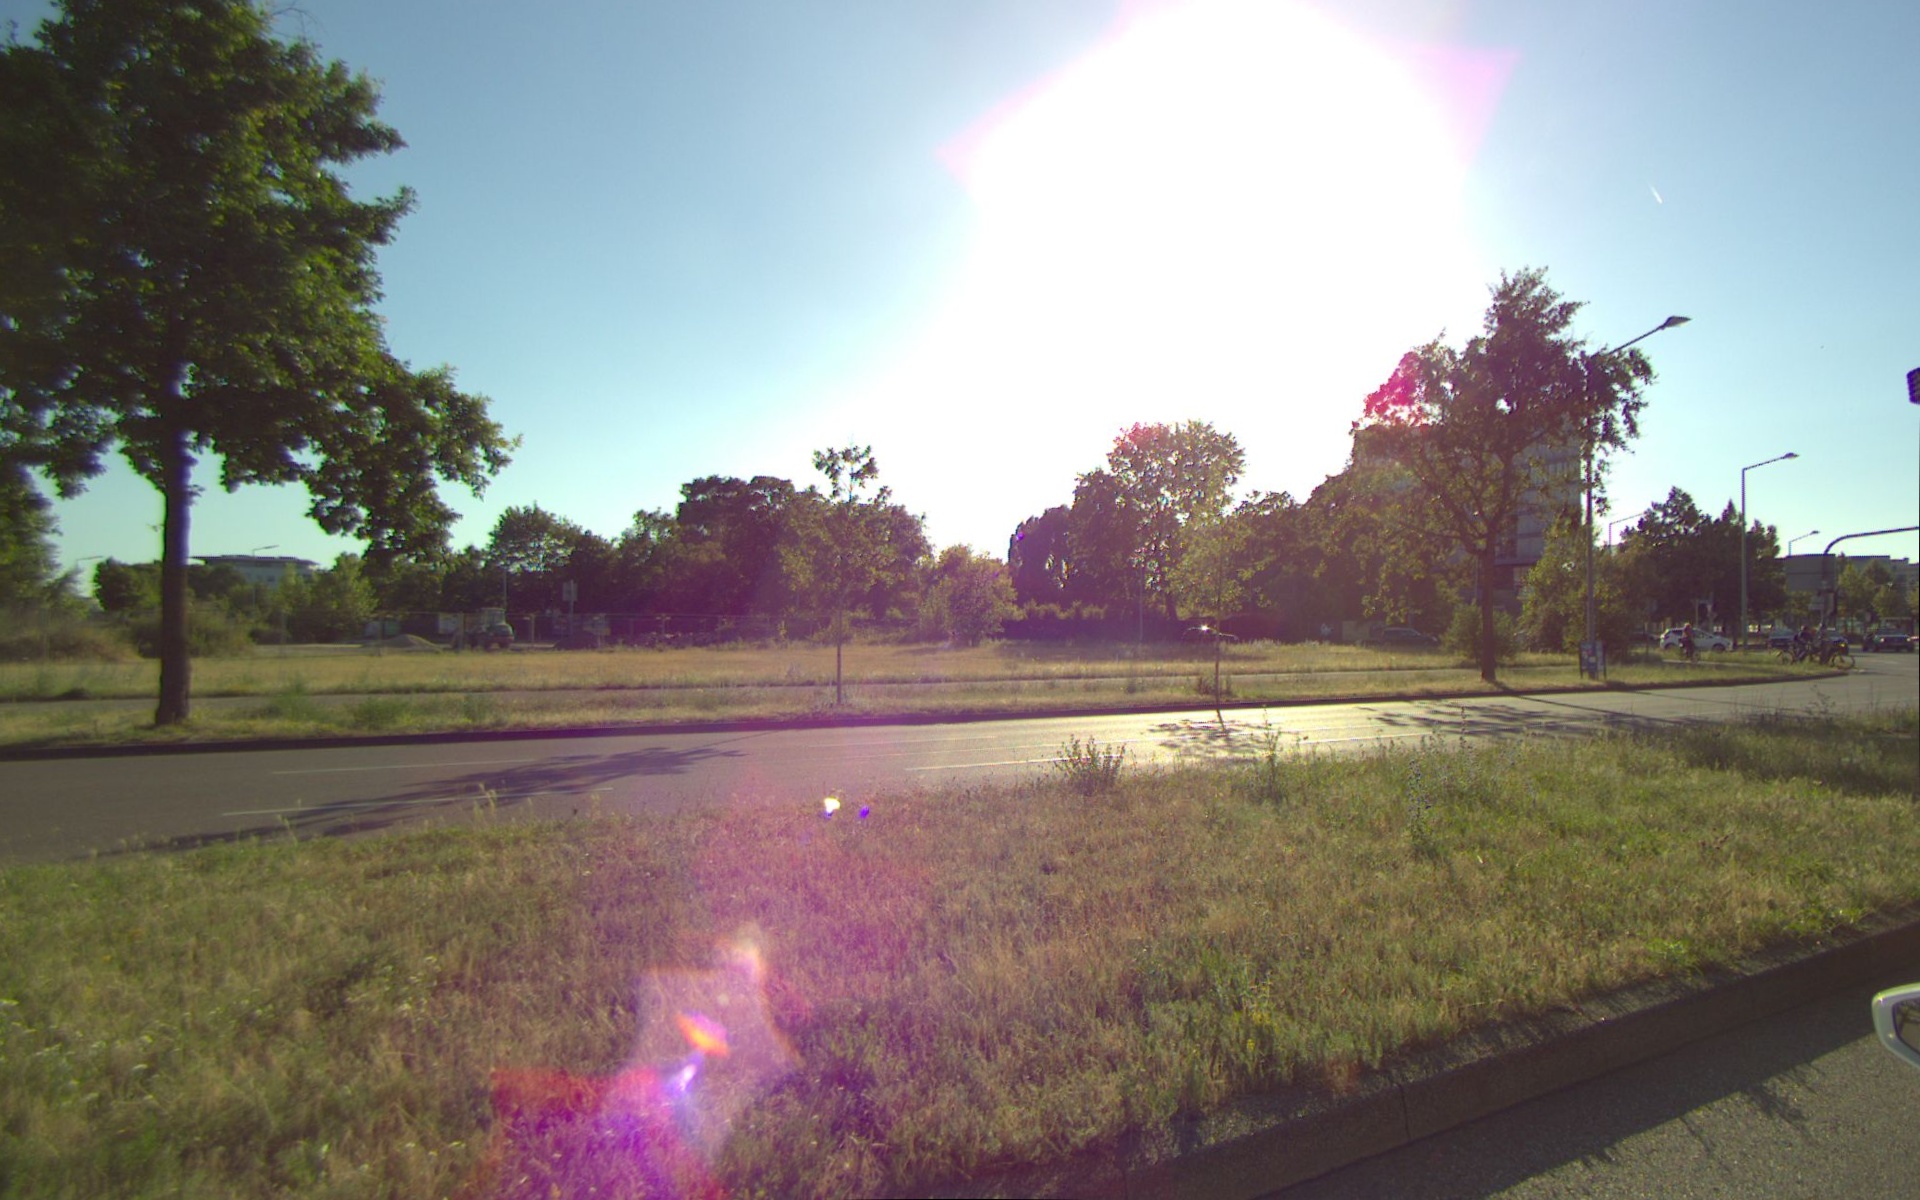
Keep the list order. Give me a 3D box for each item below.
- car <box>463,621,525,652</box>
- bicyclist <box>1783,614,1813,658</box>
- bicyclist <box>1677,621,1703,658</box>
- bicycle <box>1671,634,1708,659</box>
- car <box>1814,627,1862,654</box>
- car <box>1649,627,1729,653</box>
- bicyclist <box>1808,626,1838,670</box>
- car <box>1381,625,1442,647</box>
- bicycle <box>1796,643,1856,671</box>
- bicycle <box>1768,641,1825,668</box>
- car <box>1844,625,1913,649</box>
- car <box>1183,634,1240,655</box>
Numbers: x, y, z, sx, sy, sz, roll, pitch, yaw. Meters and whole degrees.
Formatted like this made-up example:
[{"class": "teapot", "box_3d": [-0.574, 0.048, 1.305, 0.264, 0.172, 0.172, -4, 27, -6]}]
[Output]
[{"class": "car", "box_3d": [-30.904, 2.416, 66.624, 3.815, 2.040, 1.995, -1, -2, 33]}, {"class": "bicyclist", "box_3d": [34.671, 1.488, 41.573, 0.488, 1.794, 0.813, 1, 0, -13]}, {"class": "bicyclist", "box_3d": [33.351, 1.793, 45.890, 0.696, 1.688, 0.831, -1, -1, 15]}, {"class": "bicycle", "box_3d": [33.379, 2.107, 45.979, 0.711, 1.133, 1.824, 0, -2, 14]}, {"class": "car", "box_3d": [49.810, 2.306, 57.054, 1.645, 1.460, 3.603, -2, -3, 35]}, {"class": "car", "box_3d": [45.321, 2.483, 62.553, 3.910, 1.528, 1.843, -1, -2, 35]}, {"class": "bicyclist", "box_3d": [35.983, 1.987, 41.878, 0.489, 1.813, 0.812, 1, 0, -20]}, {"class": "car", "box_3d": [31.050, 2.473, 69.176, 3.636, 1.528, 1.875, -1, -1, 20]}, {"class": "bicycle", "box_3d": [36.007, 2.360, 41.790, 0.497, 1.033, 1.905, 1, 0, -20]}, {"class": "bicycle", "box_3d": [34.645, 2.243, 41.643, 0.495, 1.033, 1.910, 1, 0, -12]}, {"class": "car", "box_3d": [55.839, 2.228, 61.165, 1.640, 1.394, 4.149, -2, -2, 21]}, {"class": "car", "box_3d": [18.433, 3.245, 73.579, 3.915, 1.528, 1.875, -1, -2, 20]}]
